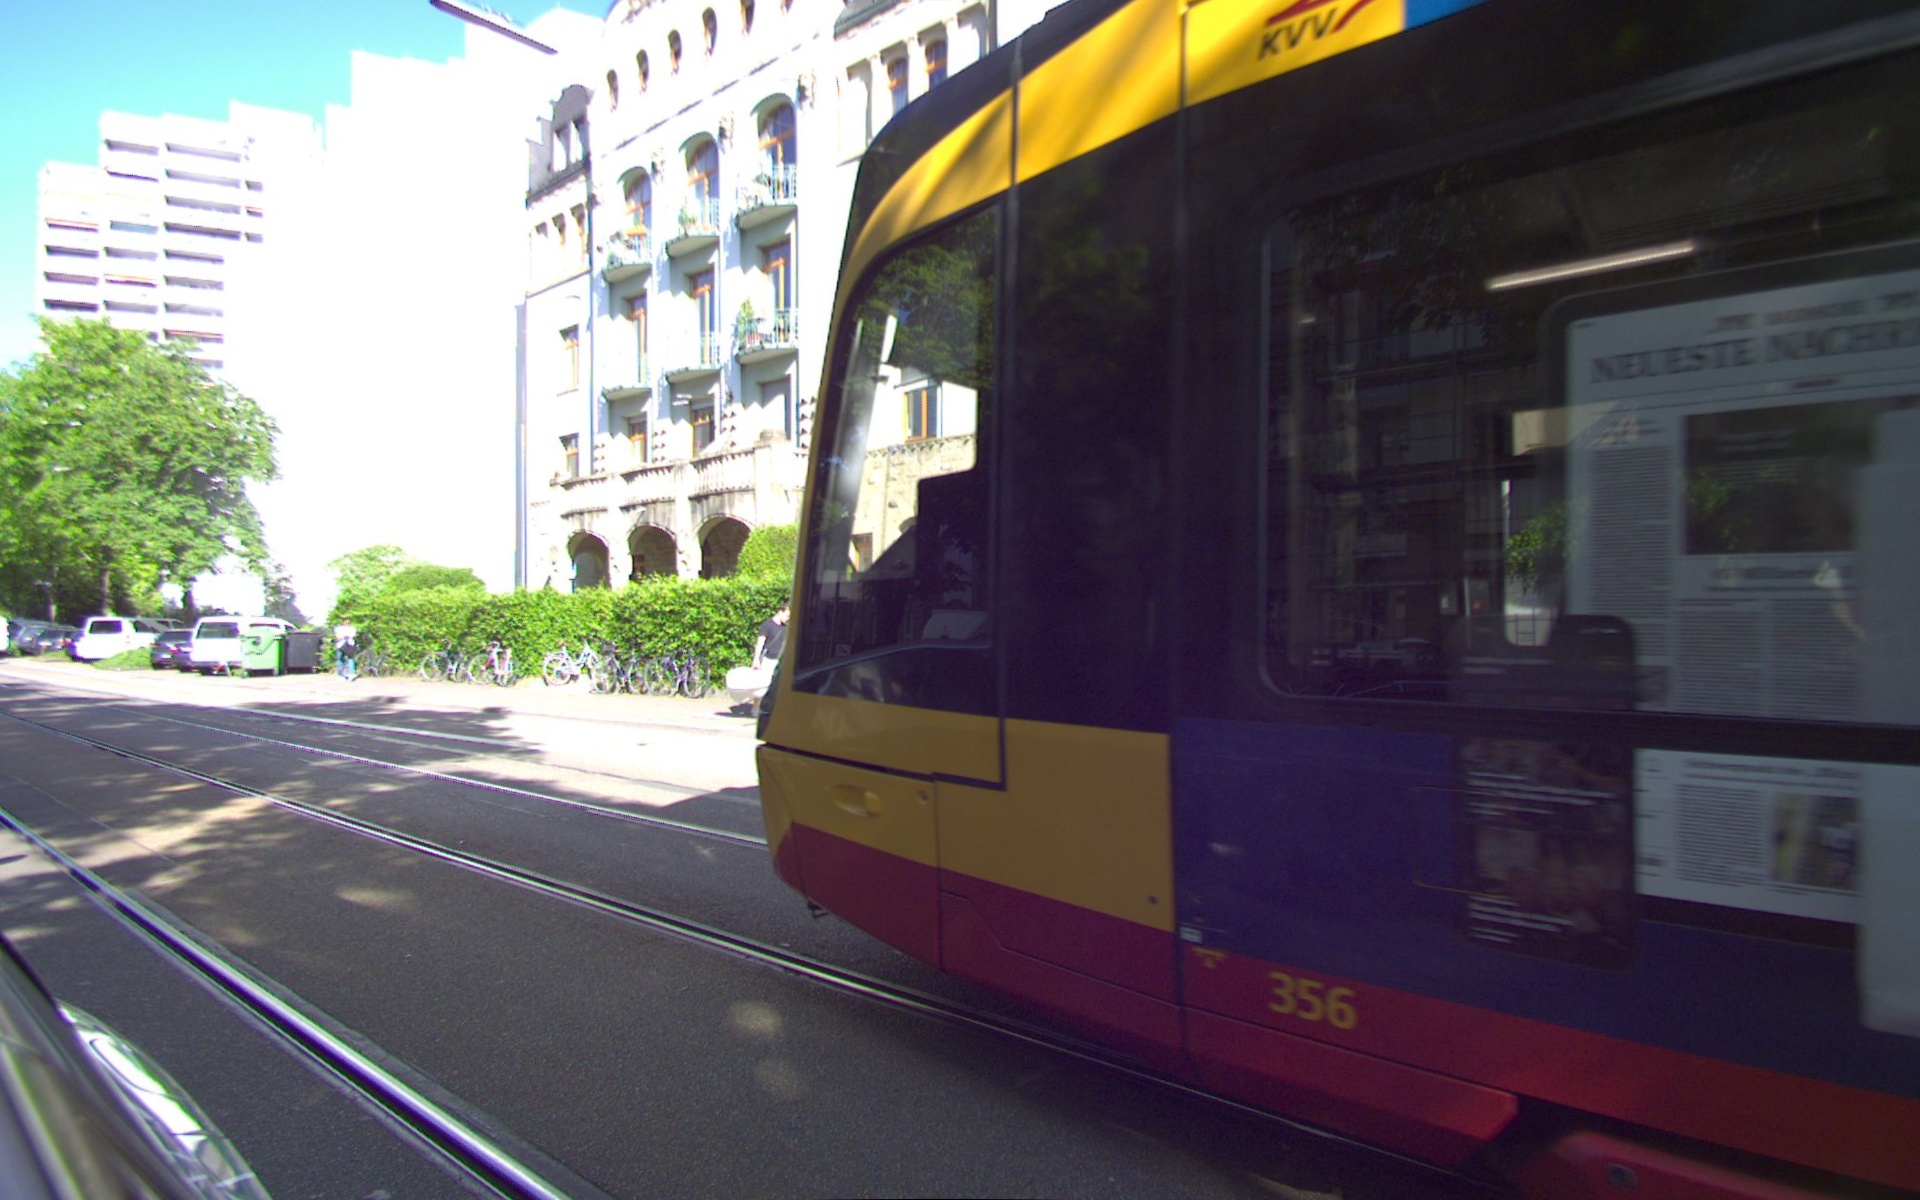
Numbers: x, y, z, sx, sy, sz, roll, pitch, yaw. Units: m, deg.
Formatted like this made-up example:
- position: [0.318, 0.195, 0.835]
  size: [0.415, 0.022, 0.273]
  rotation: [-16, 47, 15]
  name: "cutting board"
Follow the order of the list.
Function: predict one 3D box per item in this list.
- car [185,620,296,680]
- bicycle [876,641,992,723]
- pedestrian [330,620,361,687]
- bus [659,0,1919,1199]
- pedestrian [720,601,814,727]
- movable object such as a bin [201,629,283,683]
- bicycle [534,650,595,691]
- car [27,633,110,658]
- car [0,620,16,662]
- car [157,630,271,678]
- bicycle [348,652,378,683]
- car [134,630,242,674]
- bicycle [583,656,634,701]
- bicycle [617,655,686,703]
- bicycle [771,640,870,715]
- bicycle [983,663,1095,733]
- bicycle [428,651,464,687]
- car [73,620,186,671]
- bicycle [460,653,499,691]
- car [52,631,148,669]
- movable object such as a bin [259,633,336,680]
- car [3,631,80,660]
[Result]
- position: [-22.818, 1.611, 32.224]
  size: [1.438, 1.787, 3.189]
  rotation: [-1, -3, -5]
  name: "car"
- position: [-0.386, 1.105, 13.994]
  size: [1.815, 1.031, 0.400]
  rotation: [-1, 0, 41]
  name: "bicycle"
- position: [-15.422, 1.317, 25.390]
  size: [0.659, 1.641, 0.469]
  rotation: [-1, 0, 41]
  name: "pedestrian"
- position: [4.321, -0.607, 0.945]
  size: [11.485, 3.805, 2.832]
  rotation: [-1, 0, 39]
  name: "bus"
- position: [-2.723, 0.870, 14.319]
  size: [0.870, 1.640, 0.858]
  rotation: [-1, 4, 41]
  name: "pedestrian"
- position: [-20.803, 1.586, 29.329]
  size: [2.095, 1.443, 1.493]
  rotation: [-1, 0, 41]
  name: "movable object such as a bin"
- position: [-8.562, 1.517, 21.934]
  size: [0.297, 0.799, 1.246]
  rotation: [-1, 0, 41]
  name: "bicycle"
- position: [-42.915, 2.175, 48.761]
  size: [1.220, 1.097, 2.734]
  rotation: [-1, 0, 24]
  name: "car"
- position: [-47.062, 1.975, 48.806]
  size: [1.968, 1.918, 4.008]
  rotation: [-1, 0, -39]
  name: "car"
- position: [-25.120, 1.794, 34.153]
  size: [1.451, 1.446, 2.734]
  rotation: [-1, 0, 24]
  name: "car"
- position: [-15.632, 1.757, 26.484]
  size: [1.263, 0.767, 0.293]
  rotation: [-1, 0, 41]
  name: "bicycle"
- position: [-27.677, 1.827, 36.342]
  size: [1.451, 1.446, 2.734]
  rotation: [-1, 0, 24]
  name: "car"
- position: [-6.691, 1.481, 19.231]
  size: [1.263, 0.767, 0.335]
  rotation: [-1, 0, 41]
  name: "bicycle"
- position: [-5.570, 1.414, 18.231]
  size: [1.581, 0.767, 0.400]
  rotation: [-1, 0, 41]
  name: "bicycle"
- position: [-2.151, 1.153, 15.430]
  size: [1.815, 1.031, 0.400]
  rotation: [-1, 0, 41]
  name: "bicycle"
- position: [0.980, 1.223, 12.848]
  size: [1.542, 0.767, 0.314]
  rotation: [-1, 0, 41]
  name: "bicycle"
- position: [-11.943, 1.596, 23.496]
  size: [1.263, 0.767, 0.293]
  rotation: [-1, 0, 41]
  name: "bicycle"
- position: [-33.287, 1.791, 40.686]
  size: [1.894, 1.885, 3.447]
  rotation: [-1, 0, -4]
  name: "car"
- position: [-10.599, 1.579, 22.314]
  size: [1.263, 0.767, 0.314]
  rotation: [-1, 0, 41]
  name: "bicycle"
- position: [-36.158, 2.080, 42.582]
  size: [1.451, 1.446, 2.734]
  rotation: [-1, 0, 24]
  name: "car"
- position: [-20.450, 1.714, 31.252]
  size: [2.095, 1.326, 1.482]
  rotation: [-1, 0, 41]
  name: "movable object such as a bin"
- position: [-48.369, 2.373, 53.336]
  size: [1.220, 1.436, 2.734]
  rotation: [-1, 0, 24]
  name: "car"
